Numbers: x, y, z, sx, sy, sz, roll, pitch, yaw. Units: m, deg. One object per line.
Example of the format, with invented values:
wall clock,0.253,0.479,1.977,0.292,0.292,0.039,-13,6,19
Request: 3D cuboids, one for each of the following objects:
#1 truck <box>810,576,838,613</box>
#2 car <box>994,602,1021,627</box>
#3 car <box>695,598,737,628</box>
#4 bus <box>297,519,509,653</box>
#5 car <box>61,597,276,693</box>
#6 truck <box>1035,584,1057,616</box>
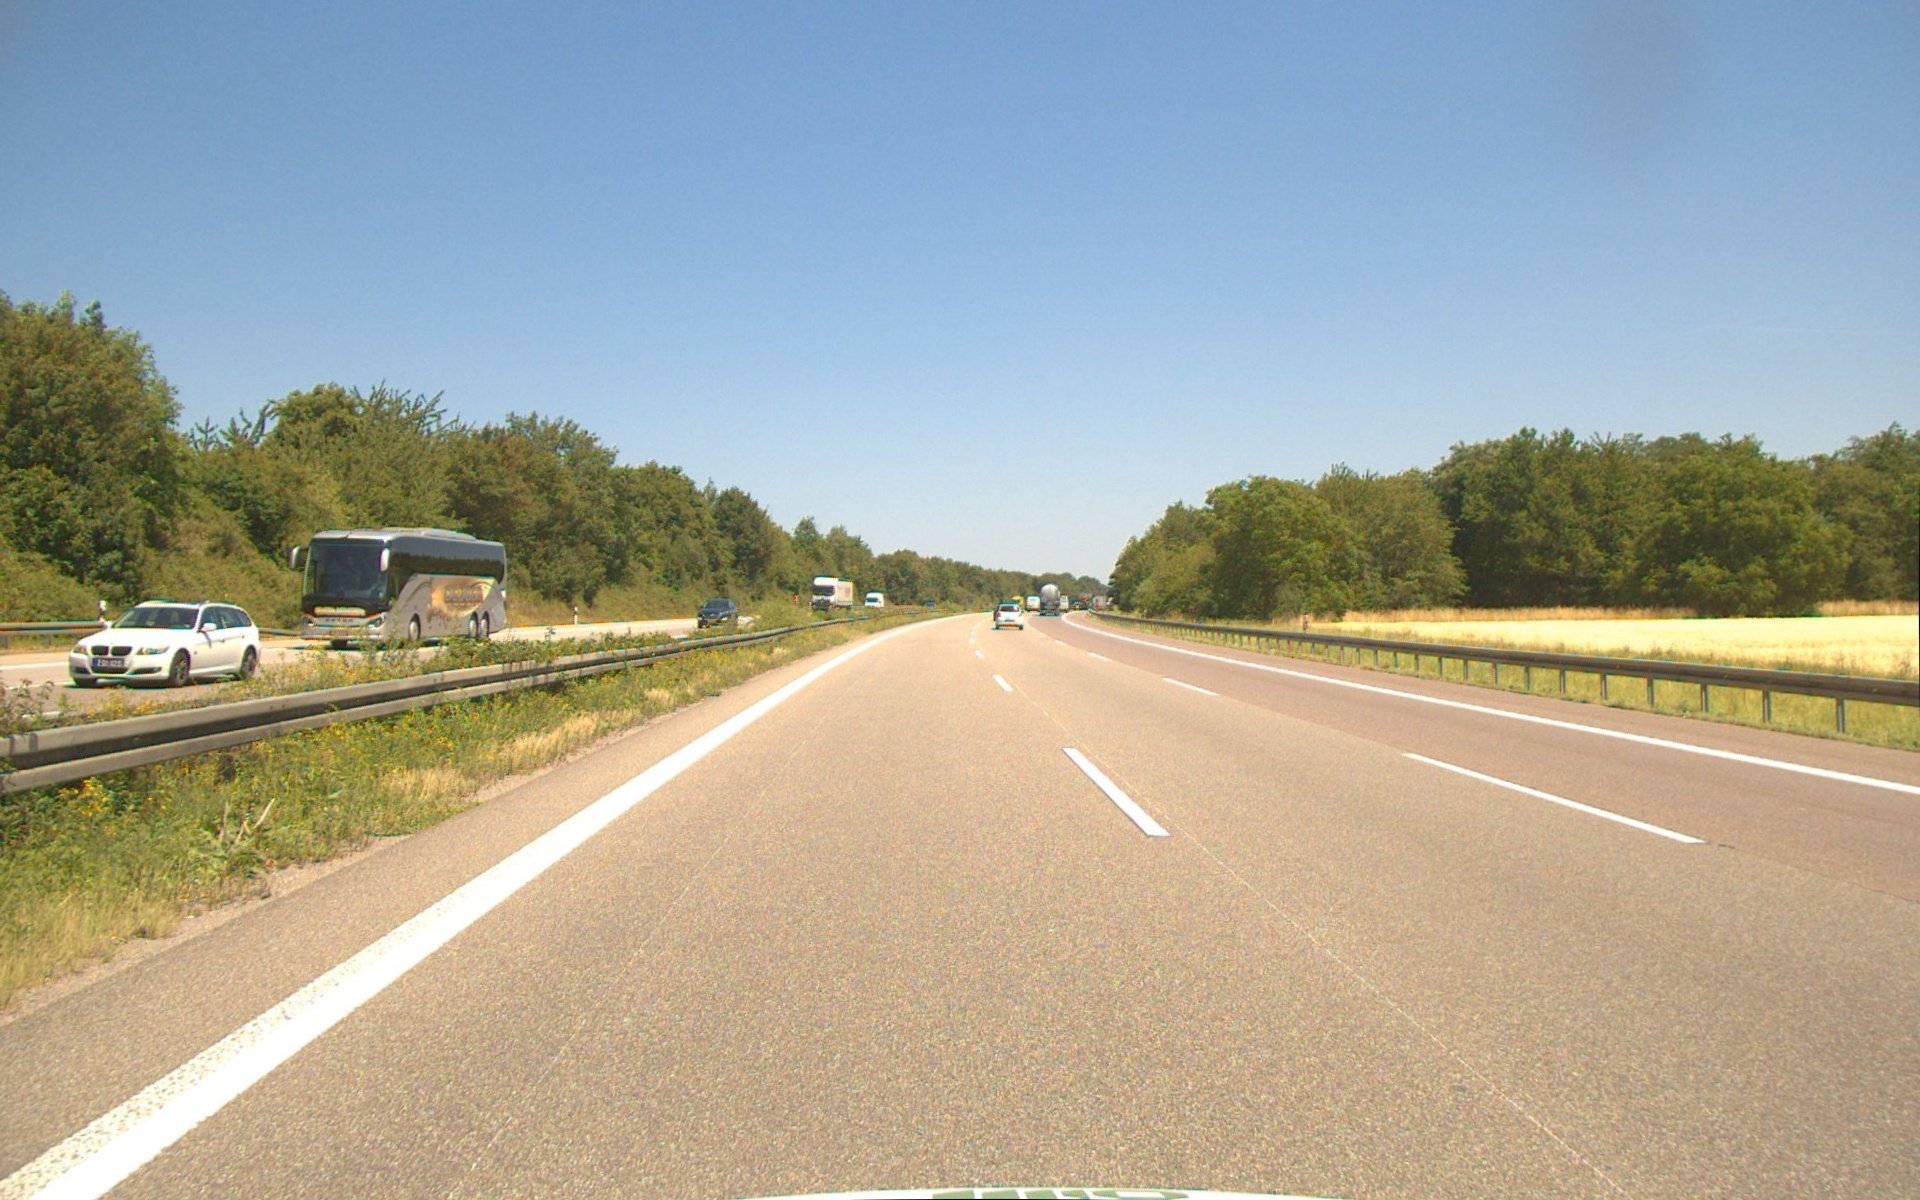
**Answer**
truck,-14.996,-0.558,182.155,2.646,4.035,4.443,0,0,0
car,2.918,0.867,101.845,1.594,1.505,4.001,0,0,1
car,-14.013,0.743,95.187,1.788,1.660,4.558,0,0,-1
bus,-17.699,-0.375,53.781,2.686,3.772,12.996,1,0,-1
car,-13.952,0.745,29.449,1.732,1.541,4.330,1,0,-1
truck,11.152,0.048,214.660,2.682,4.123,10.456,0,0,2
